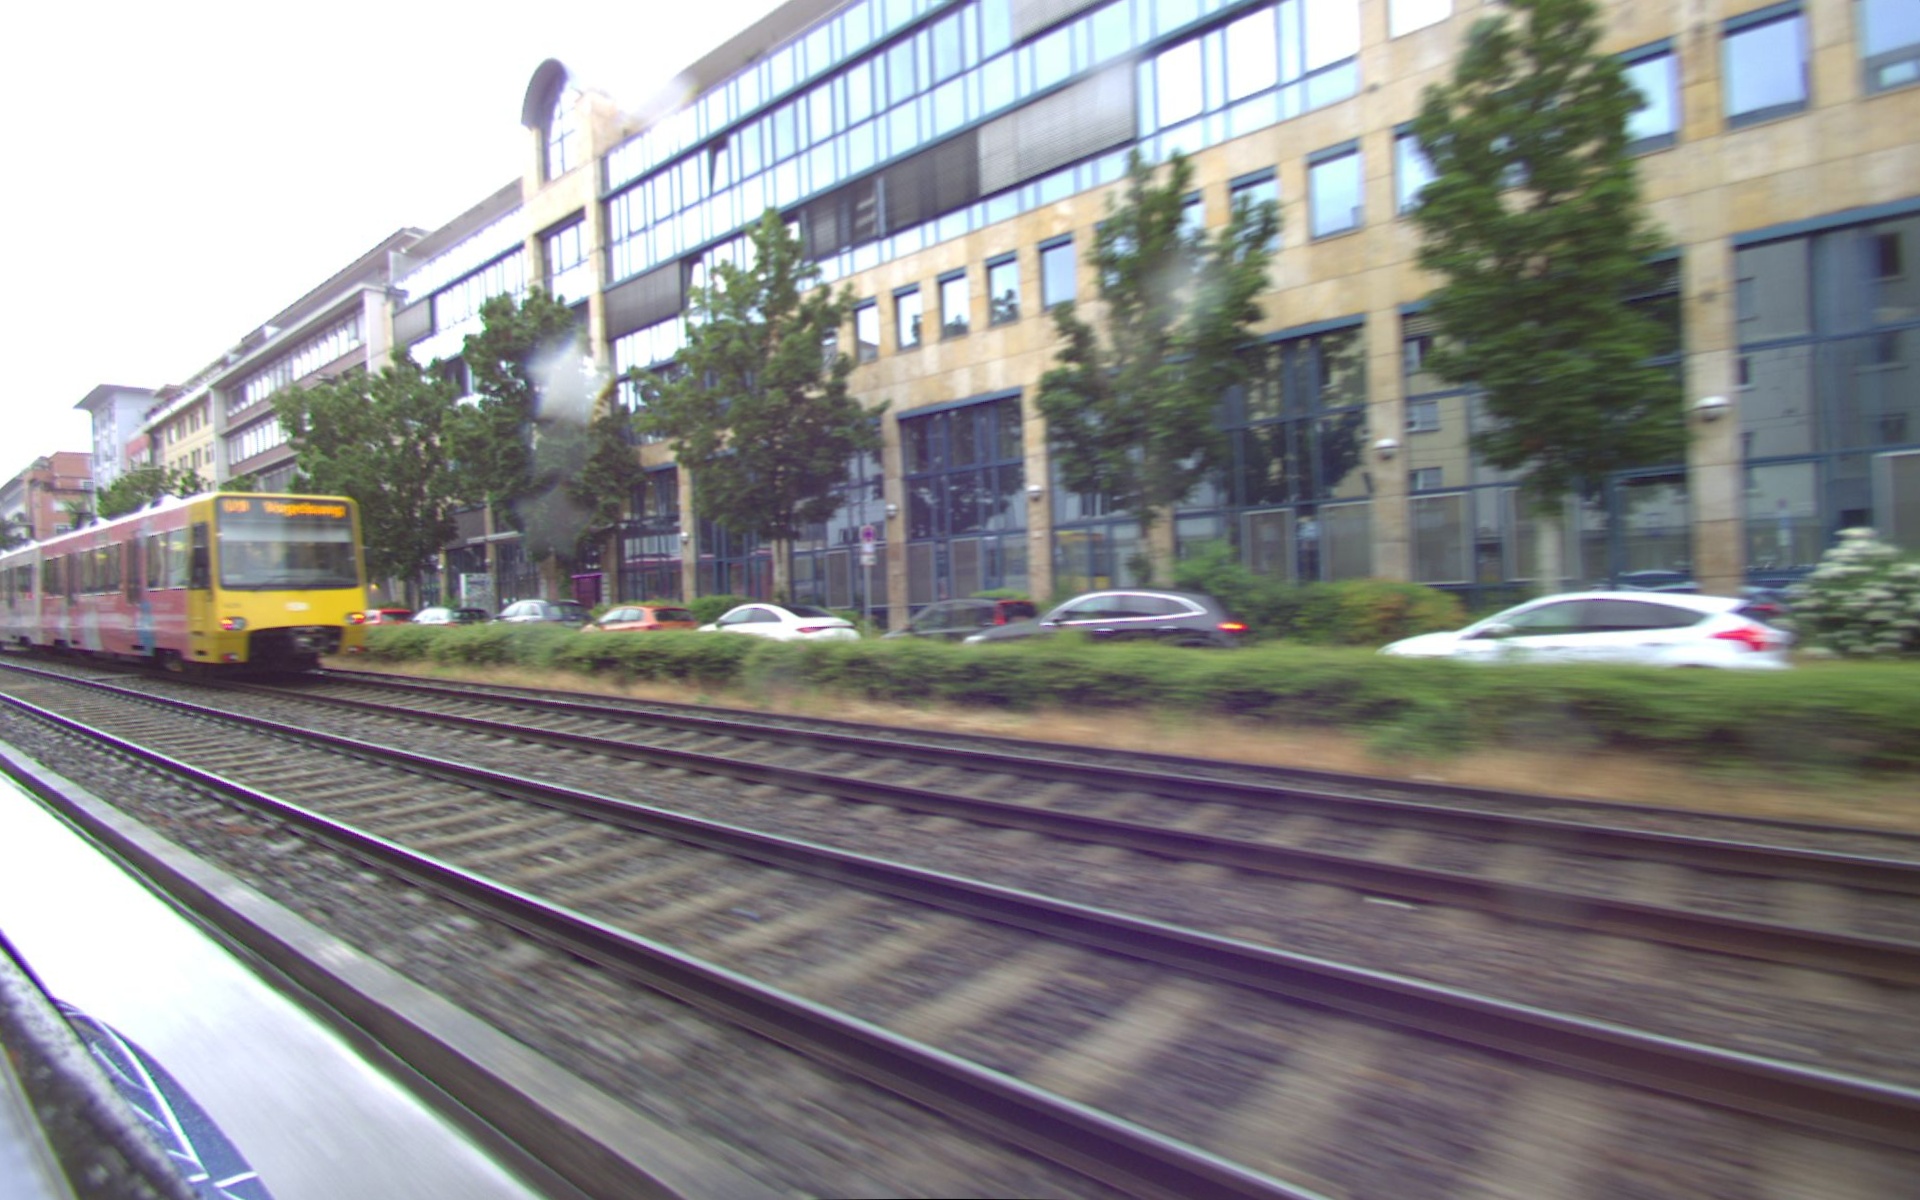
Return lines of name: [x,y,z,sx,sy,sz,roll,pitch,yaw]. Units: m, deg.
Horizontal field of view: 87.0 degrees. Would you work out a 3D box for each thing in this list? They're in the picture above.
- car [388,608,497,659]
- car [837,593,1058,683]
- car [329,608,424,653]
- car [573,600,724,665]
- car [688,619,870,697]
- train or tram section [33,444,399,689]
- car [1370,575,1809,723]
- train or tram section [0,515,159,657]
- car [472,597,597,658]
car: [-17.250,1.096,33.634,4.619,1.552,1.632,-2,-1,41]
car: [-0.302,0.715,19.097,3.996,1.497,1.672,-3,0,39]
car: [-21.581,1.120,37.368,4.619,1.552,1.632,-2,-1,41]
car: [-7.951,0.805,25.646,4.290,1.509,1.632,-2,-1,41]
car: [-4.014,1.204,22.027,4.190,1.509,1.632,-2,-1,41]
train or tram section: [-18.602,-0.468,24.073,18.756,4.081,2.872,-1,0,41]
car: [7.429,0.552,12.233,4.251,1.497,1.672,-3,0,39]
train or tram section: [-32.699,-0.307,36.231,18.400,4.081,2.872,-1,0,41]
car: [-12.381,0.783,29.318,4.290,1.613,1.632,-2,-1,41]
